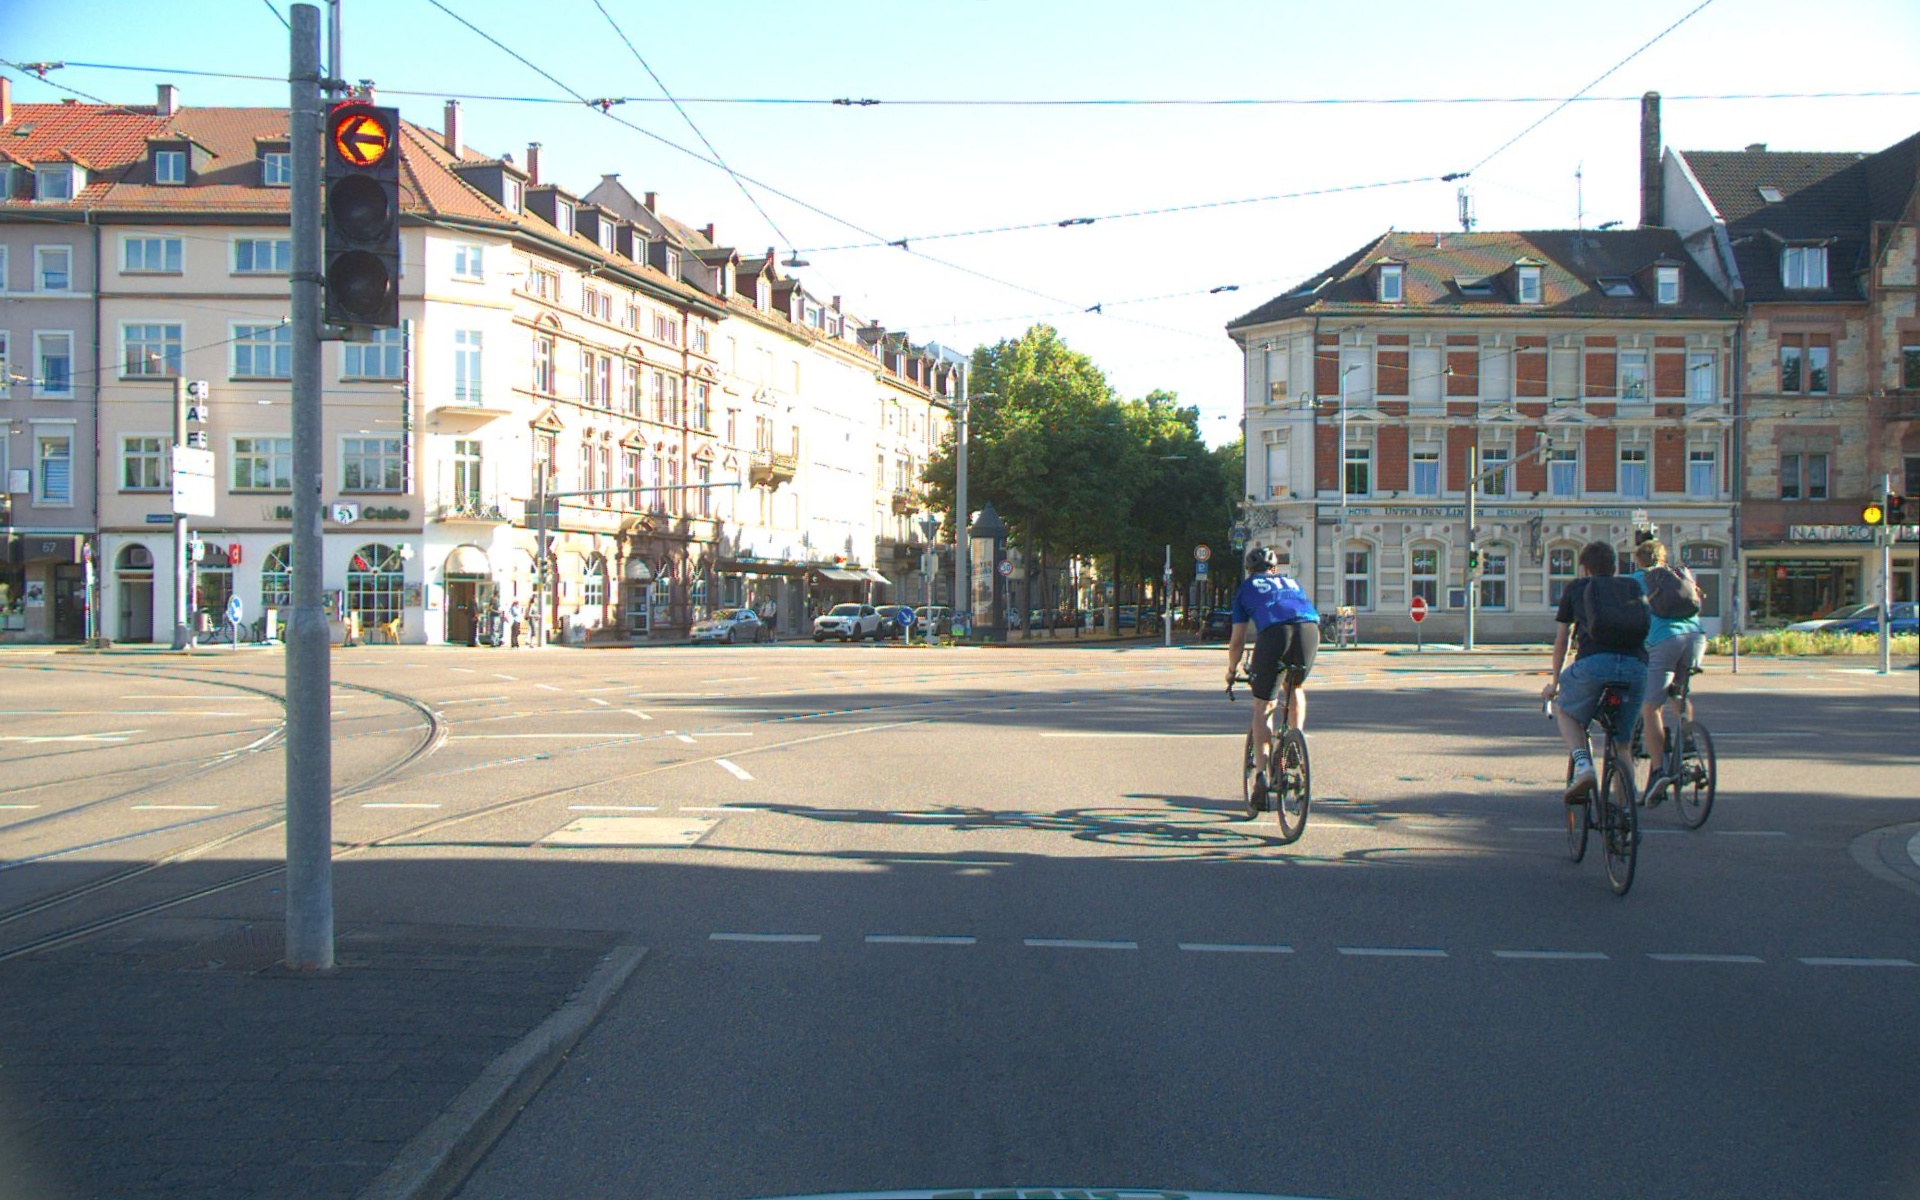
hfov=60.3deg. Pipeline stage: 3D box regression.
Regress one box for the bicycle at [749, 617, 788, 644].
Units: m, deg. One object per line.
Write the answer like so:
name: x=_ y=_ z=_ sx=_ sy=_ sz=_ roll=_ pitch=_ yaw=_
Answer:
bicycle: x=-7.529 y=1.206 z=65.148 sx=0.746 sy=1.025 sz=2.398 roll=1 pitch=0 yaw=13

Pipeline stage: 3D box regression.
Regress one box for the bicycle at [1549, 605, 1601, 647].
bicycle: x=19.733 y=0.823 z=53.115 sx=0.678 sy=1.309 sz=2.661 roll=1 pitch=0 yaw=0

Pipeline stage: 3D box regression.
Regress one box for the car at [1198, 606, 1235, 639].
car: x=12.871 y=1.130 z=82.762 sx=1.655 sy=1.592 sz=3.844 roll=1 pitch=0 yaw=11

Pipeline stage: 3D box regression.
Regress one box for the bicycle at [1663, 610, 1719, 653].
bicycle: x=23.481 y=0.998 z=53.159 sx=0.615 sy=1.309 sz=2.661 roll=1 pitch=0 yaw=0

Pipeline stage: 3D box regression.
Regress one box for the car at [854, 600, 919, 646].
car: x=-3.240 y=1.013 z=73.608 sx=1.951 sy=1.937 sz=4.003 roll=1 pitch=0 yaw=11

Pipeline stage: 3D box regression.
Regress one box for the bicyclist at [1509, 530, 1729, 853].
bicyclist: x=3.506 y=0.471 z=8.873 sx=0.789 sy=1.634 sz=0.883 roll=1 pitch=-1 yaw=-3

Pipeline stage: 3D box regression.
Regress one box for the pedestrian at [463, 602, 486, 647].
pedestrian: x=-16.390 y=0.834 z=55.857 sx=0.620 sy=1.502 sz=0.465 roll=1 pitch=-1 yaw=-5

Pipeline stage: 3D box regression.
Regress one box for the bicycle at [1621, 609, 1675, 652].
bicycle: x=22.082 y=0.961 z=53.136 sx=0.615 sy=1.309 sz=2.661 roll=1 pitch=0 yaw=0

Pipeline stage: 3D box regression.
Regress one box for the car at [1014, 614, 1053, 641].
car: x=5.451 y=2.024 z=122.678 sx=1.951 sy=1.937 sz=4.002 roll=1 pitch=0 yaw=16

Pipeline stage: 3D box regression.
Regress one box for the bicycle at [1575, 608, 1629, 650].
bicycle: x=20.594 y=0.926 z=53.113 sx=0.678 sy=1.309 sz=2.661 roll=1 pitch=0 yaw=0

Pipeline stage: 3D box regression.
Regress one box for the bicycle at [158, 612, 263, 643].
bicycle: x=-25.518 y=0.941 z=56.343 sx=3.066 sy=0.997 sz=1.001 roll=1 pitch=0 yaw=-1

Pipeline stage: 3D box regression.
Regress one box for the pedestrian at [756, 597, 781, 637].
pedestrian: x=-7.541 y=0.667 z=65.077 sx=0.803 sy=1.539 sz=0.598 roll=1 pitch=-1 yaw=14

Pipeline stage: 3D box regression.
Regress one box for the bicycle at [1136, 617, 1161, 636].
bicycle: x=11.287 y=1.572 z=99.210 sx=0.619 sy=1.104 sz=1.685 roll=1 pitch=0 yaw=-31

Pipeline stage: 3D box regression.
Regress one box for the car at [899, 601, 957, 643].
car: x=-1.511 y=1.069 z=79.752 sx=1.951 sy=1.937 sz=4.003 roll=1 pitch=0 yaw=11

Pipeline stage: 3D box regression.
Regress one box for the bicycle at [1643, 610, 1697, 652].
bicycle: x=22.797 y=0.986 z=53.160 sx=0.615 sy=1.309 sz=2.661 roll=1 pitch=0 yaw=0

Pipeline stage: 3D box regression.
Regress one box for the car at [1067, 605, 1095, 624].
car: x=9.971 y=1.169 z=136.281 sx=1.526 sy=1.540 sz=3.658 roll=1 pitch=0 yaw=16

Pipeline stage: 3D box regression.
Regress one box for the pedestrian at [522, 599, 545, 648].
pedestrian: x=-14.700 y=0.801 z=56.954 sx=0.620 sy=1.662 sz=0.700 roll=1 pitch=-1 yaw=-4

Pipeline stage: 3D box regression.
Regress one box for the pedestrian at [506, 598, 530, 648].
pedestrian: x=-14.861 y=0.769 z=55.662 sx=0.620 sy=1.662 sz=0.700 roll=1 pitch=-1 yaw=-4

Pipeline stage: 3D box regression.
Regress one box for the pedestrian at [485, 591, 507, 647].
pedestrian: x=-15.912 y=0.654 z=56.765 sx=0.620 sy=1.914 sz=0.465 roll=1 pitch=-1 yaw=-5

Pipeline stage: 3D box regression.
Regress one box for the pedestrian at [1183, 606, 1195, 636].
pedestrian: x=13.792 y=1.262 z=99.636 sx=0.626 sy=1.827 sz=0.491 roll=1 pitch=-1 yaw=12

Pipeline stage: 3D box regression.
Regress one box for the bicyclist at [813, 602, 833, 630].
bicyclist: x=-5.978 y=0.684 z=71.975 sx=0.618 sy=1.205 sz=0.685 roll=1 pitch=-1 yaw=20

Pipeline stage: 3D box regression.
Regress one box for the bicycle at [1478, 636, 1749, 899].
bicycle: x=3.494 y=0.846 z=9.009 sx=0.740 sy=1.258 sz=1.702 roll=1 pitch=0 yaw=-2

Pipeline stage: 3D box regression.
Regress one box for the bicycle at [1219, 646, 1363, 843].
bicycle: x=2.069 y=0.868 z=10.524 sx=0.613 sy=1.104 sz=1.703 roll=1 pitch=0 yaw=2

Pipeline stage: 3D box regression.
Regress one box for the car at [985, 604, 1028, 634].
car: x=3.187 y=1.289 z=112.725 sx=1.951 sy=1.937 sz=4.002 roll=1 pitch=0 yaw=16

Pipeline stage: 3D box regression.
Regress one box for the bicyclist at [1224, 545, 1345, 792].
bicyclist: x=2.079 y=0.413 z=10.683 sx=0.625 sy=1.520 sz=0.884 roll=1 pitch=1 yaw=3

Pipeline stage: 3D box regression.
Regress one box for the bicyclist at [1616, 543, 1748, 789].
bicyclist: x=5.093 y=0.445 z=11.714 sx=0.675 sy=1.662 sz=0.884 roll=1 pitch=-1 yaw=11

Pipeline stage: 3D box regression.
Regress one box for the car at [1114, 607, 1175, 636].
car: x=12.858 y=1.466 z=115.138 sx=3.902 sy=1.937 sz=2.001 roll=1 pitch=0 yaw=15

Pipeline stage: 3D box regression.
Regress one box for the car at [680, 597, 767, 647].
car: x=-9.528 y=0.876 z=66.944 sx=1.951 sy=1.937 sz=4.002 roll=1 pitch=0 yaw=17

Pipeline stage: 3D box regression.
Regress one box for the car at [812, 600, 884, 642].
car: x=-4.518 y=0.853 z=67.436 sx=1.951 sy=1.646 sz=4.003 roll=1 pitch=0 yaw=11

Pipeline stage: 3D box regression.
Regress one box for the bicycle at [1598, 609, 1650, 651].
bicycle: x=21.305 y=0.936 z=53.134 sx=0.615 sy=1.309 sz=2.661 roll=1 pitch=0 yaw=0

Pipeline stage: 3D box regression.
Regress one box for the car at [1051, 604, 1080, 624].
car: x=8.457 y=1.117 z=132.011 sx=1.526 sy=1.540 sz=3.658 roll=1 pitch=0 yaw=16

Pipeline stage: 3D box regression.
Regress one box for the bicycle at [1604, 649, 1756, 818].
bicycle: x=5.069 y=0.902 z=11.739 sx=0.635 sy=1.049 sz=1.772 roll=1 pitch=0 yaw=12

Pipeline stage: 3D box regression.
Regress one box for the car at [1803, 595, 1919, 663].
car: x=25.832 y=0.813 z=46.031 sx=3.706 sy=1.809 sz=1.999 roll=1 pitch=0 yaw=-2

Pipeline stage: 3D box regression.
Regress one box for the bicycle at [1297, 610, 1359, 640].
bicycle: x=12.733 y=0.867 z=57.245 sx=2.006 sy=1.015 sz=0.631 roll=0 pitch=-1 yaw=2

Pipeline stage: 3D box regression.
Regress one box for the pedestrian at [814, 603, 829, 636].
pedestrian: x=-7.081 y=0.991 z=84.721 sx=0.532 sy=1.660 sz=0.707 roll=1 pitch=-1 yaw=13

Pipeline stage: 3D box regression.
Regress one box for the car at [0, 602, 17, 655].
car: x=-32.388 y=0.913 z=52.422 sx=3.902 sy=1.699 sz=2.002 roll=0 pitch=0 yaw=8
